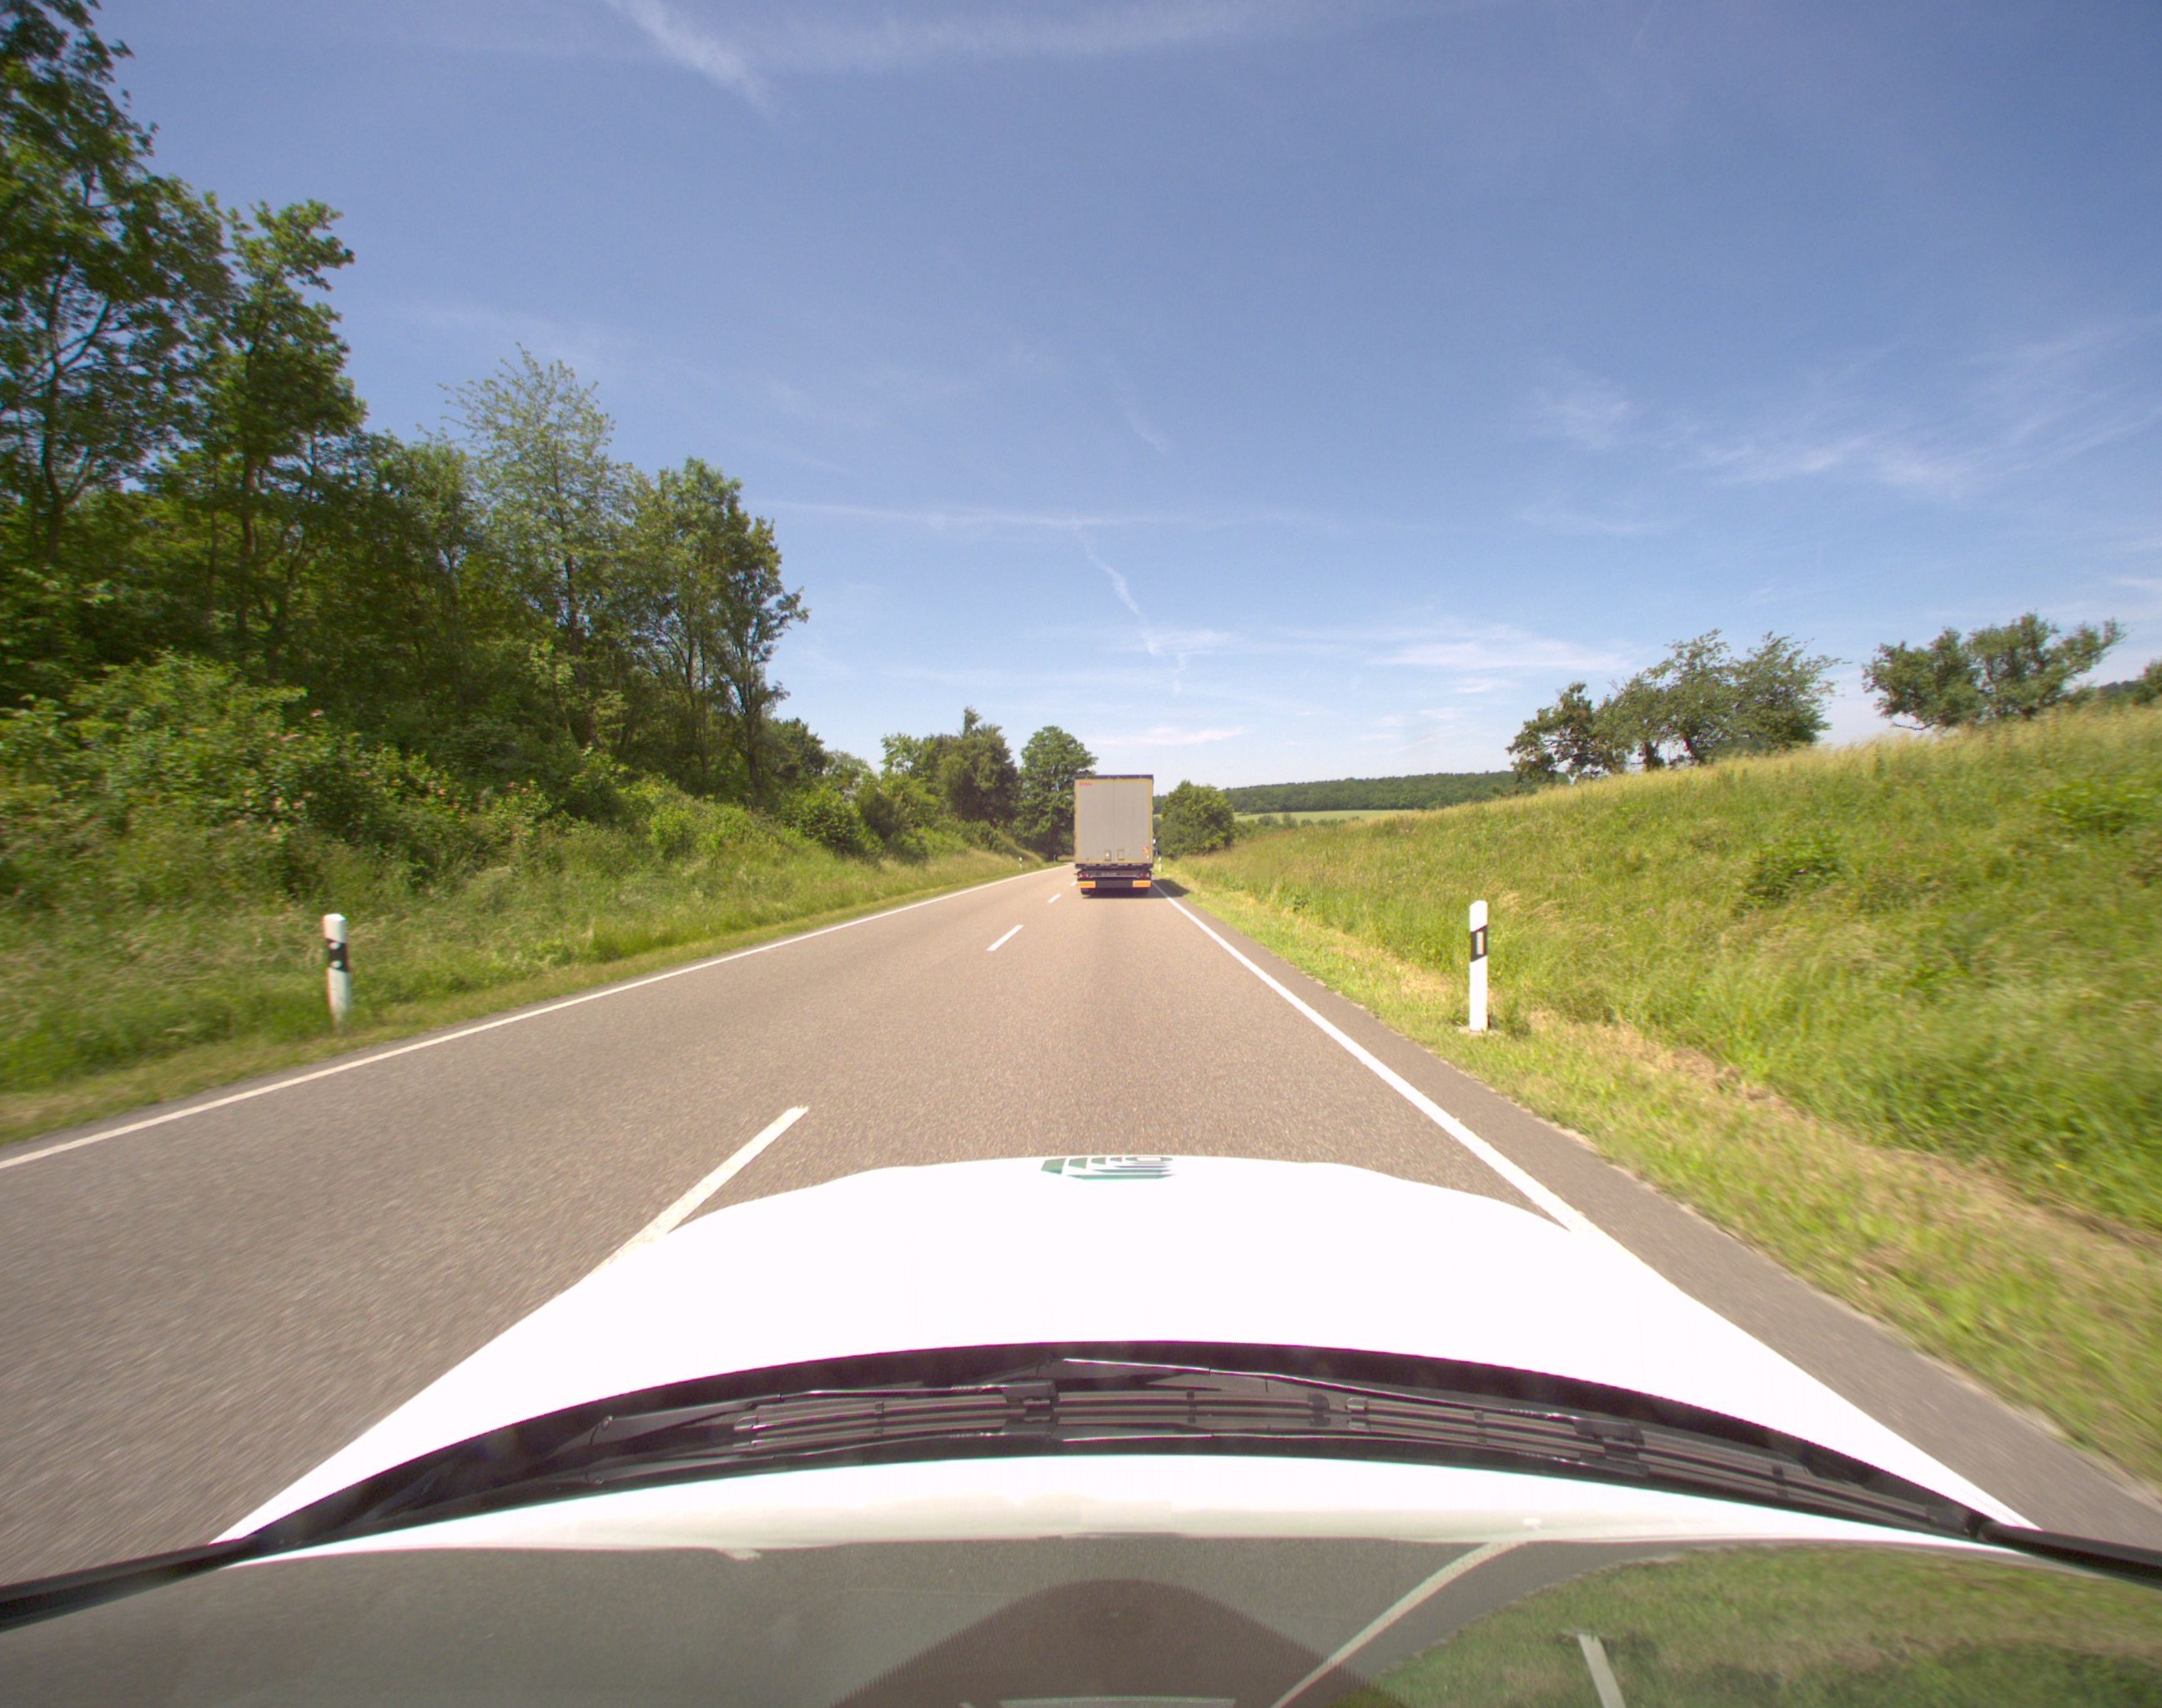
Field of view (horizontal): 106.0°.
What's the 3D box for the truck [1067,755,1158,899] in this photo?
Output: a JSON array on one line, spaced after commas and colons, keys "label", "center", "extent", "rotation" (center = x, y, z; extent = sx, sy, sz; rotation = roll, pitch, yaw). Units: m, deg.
[{"label": "truck", "center": [1.248, -0.900, 31.950], "extent": [2.806, 4.532, 11.775], "rotation": [-1, 0, 2]}]
